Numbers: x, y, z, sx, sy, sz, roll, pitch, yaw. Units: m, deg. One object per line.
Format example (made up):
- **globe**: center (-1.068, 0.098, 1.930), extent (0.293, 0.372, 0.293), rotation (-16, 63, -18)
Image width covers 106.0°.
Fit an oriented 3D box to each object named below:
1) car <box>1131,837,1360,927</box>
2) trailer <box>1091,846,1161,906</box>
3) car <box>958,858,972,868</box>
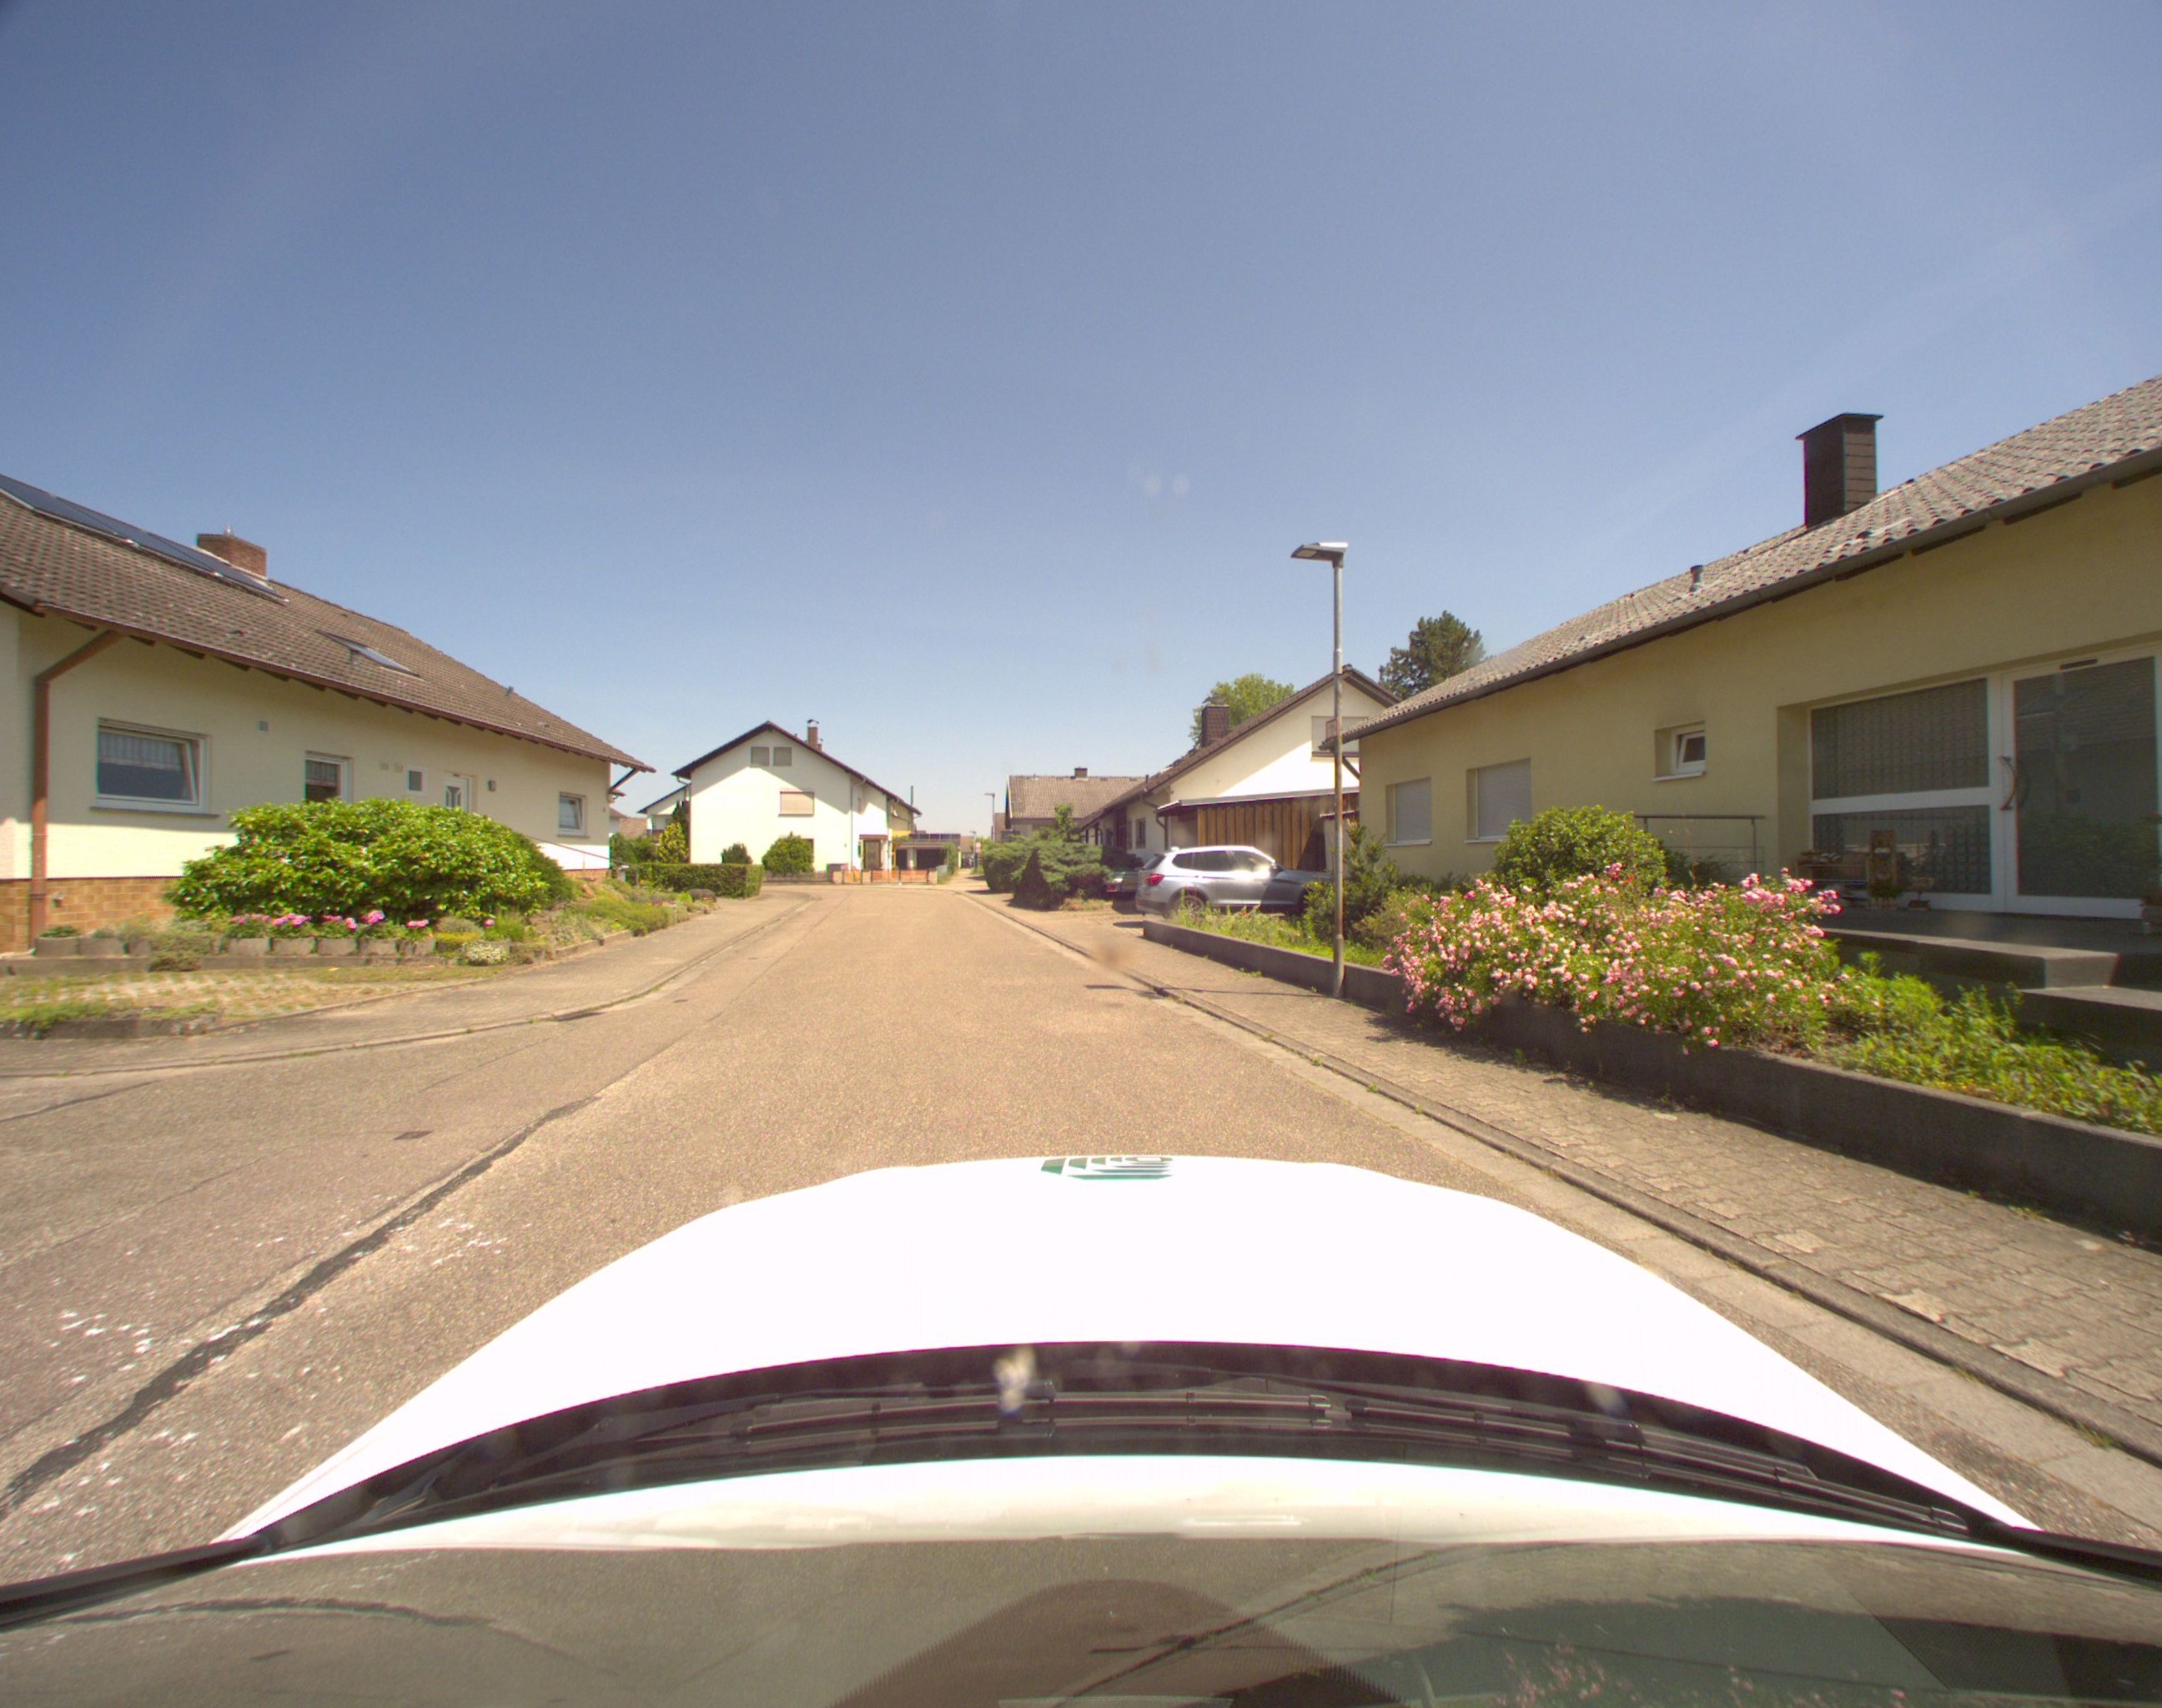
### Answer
- **car**: center (3.522, 0.579, 17.873), extent (4.619, 1.702, 1.707), rotation (-2, 0, -5)
- **trailer**: center (1.326, 0.628, 25.229), extent (1.585, 1.672, 3.289), rotation (-2, 0, -6)
- **car**: center (-20.091, 1.512, 141.219), extent (2.191, 1.701, 3.798), rotation (-1, 0, -6)
